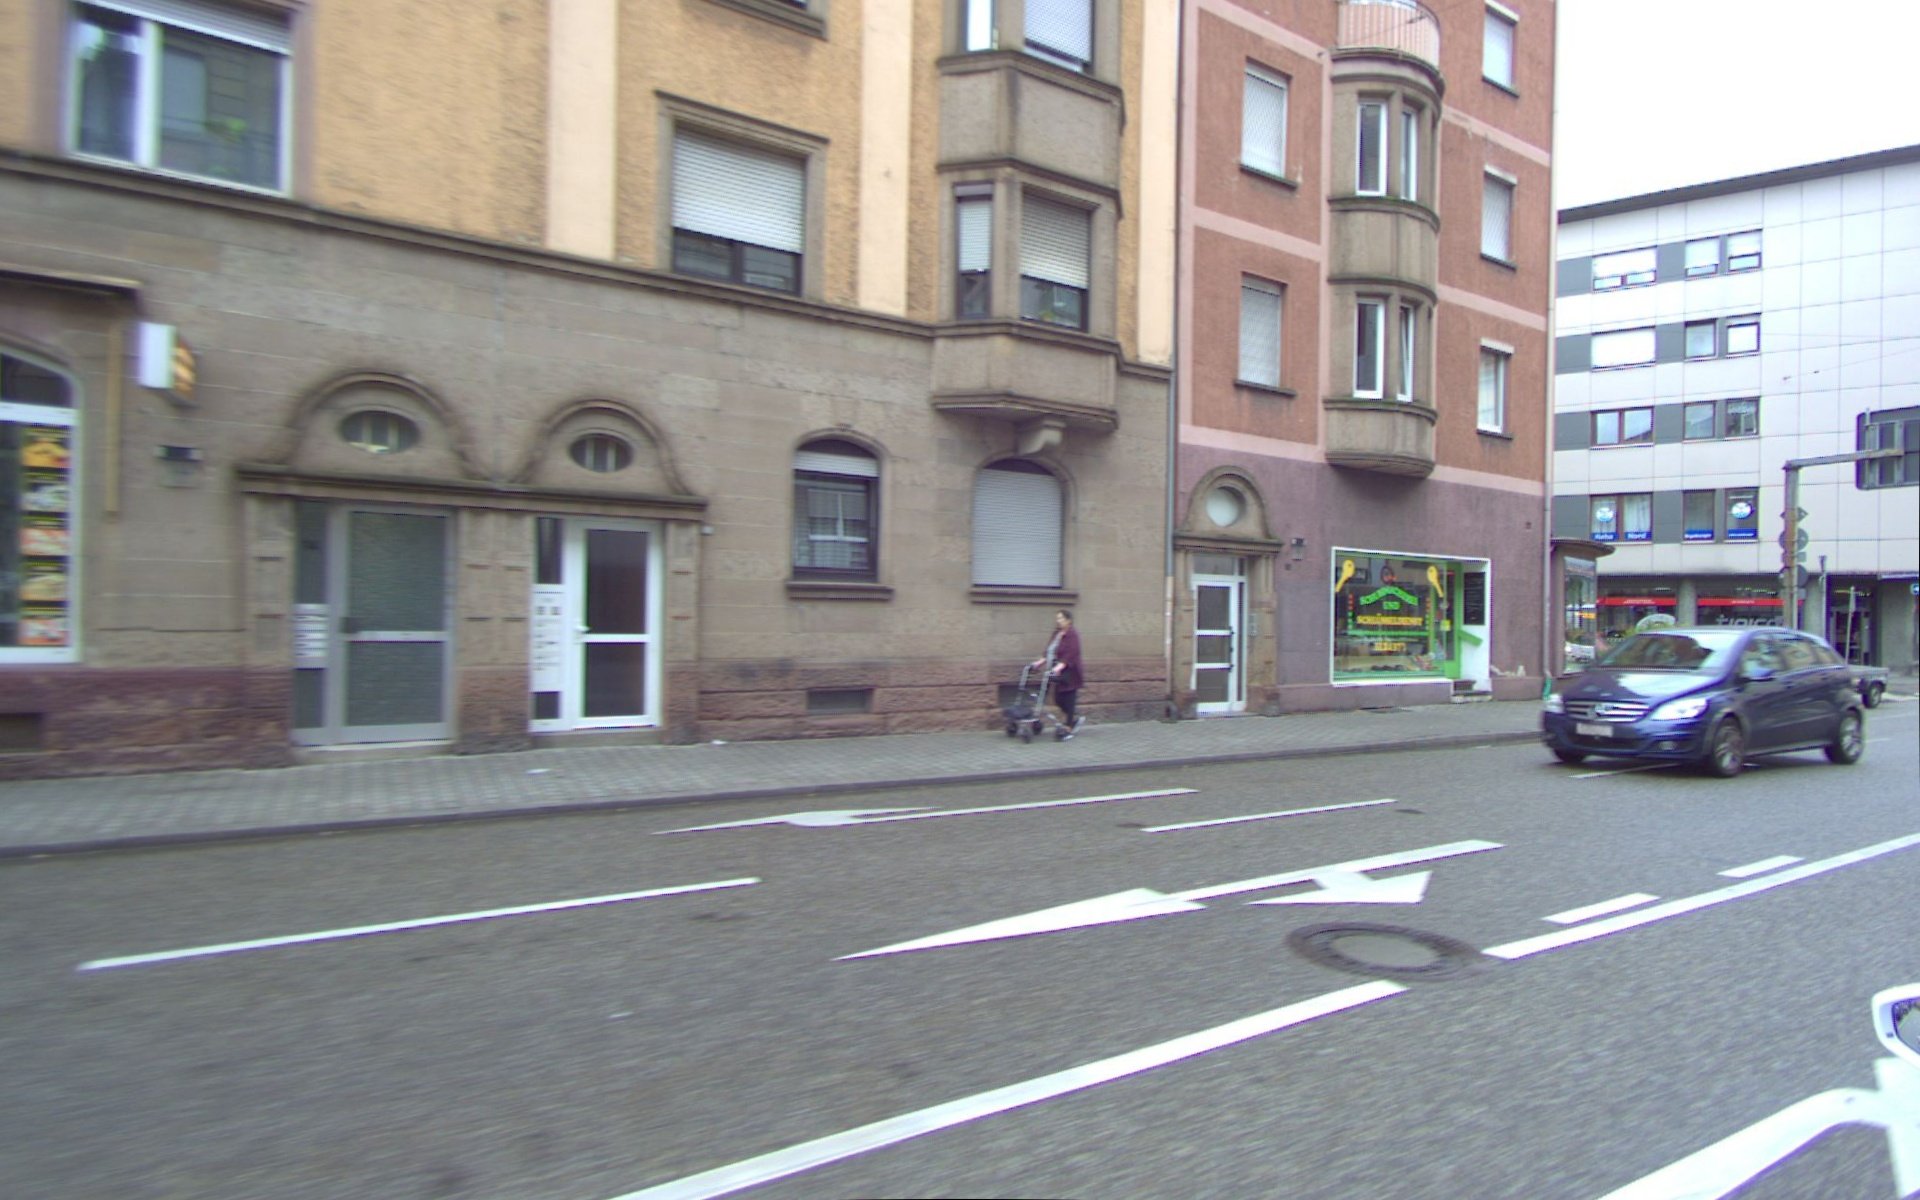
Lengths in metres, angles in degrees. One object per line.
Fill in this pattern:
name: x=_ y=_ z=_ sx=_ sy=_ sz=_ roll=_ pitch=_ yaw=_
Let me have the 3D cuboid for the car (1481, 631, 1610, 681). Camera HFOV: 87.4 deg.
car: x=19.141 y=1.810 z=32.892 sx=3.471 sy=1.502 sz=1.687 roll=0 pitch=-2 yaw=38

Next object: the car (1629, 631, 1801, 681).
car: x=25.964 y=1.900 z=34.764 sx=4.561 sy=1.553 sz=1.902 roll=0 pitch=-2 yaw=31

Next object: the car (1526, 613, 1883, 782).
car: x=8.768 y=1.056 z=11.764 sx=4.254 sy=1.673 sz=1.747 roll=2 pitch=-2 yaw=-29

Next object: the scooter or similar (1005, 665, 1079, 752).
scooter or similar: x=0.982 y=1.278 z=12.015 sx=0.477 sy=0.937 sz=0.705 roll=3 pitch=0 yaw=-44

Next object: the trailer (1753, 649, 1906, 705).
trailer: x=19.082 y=1.663 z=22.037 sx=3.020 sy=0.962 sz=1.580 roll=2 pitch=3 yaw=-30

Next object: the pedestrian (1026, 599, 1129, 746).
pedestrian: x=1.455 y=0.869 z=12.444 sx=0.847 sy=1.701 sz=0.834 roll=3 pitch=1 yaw=-44
